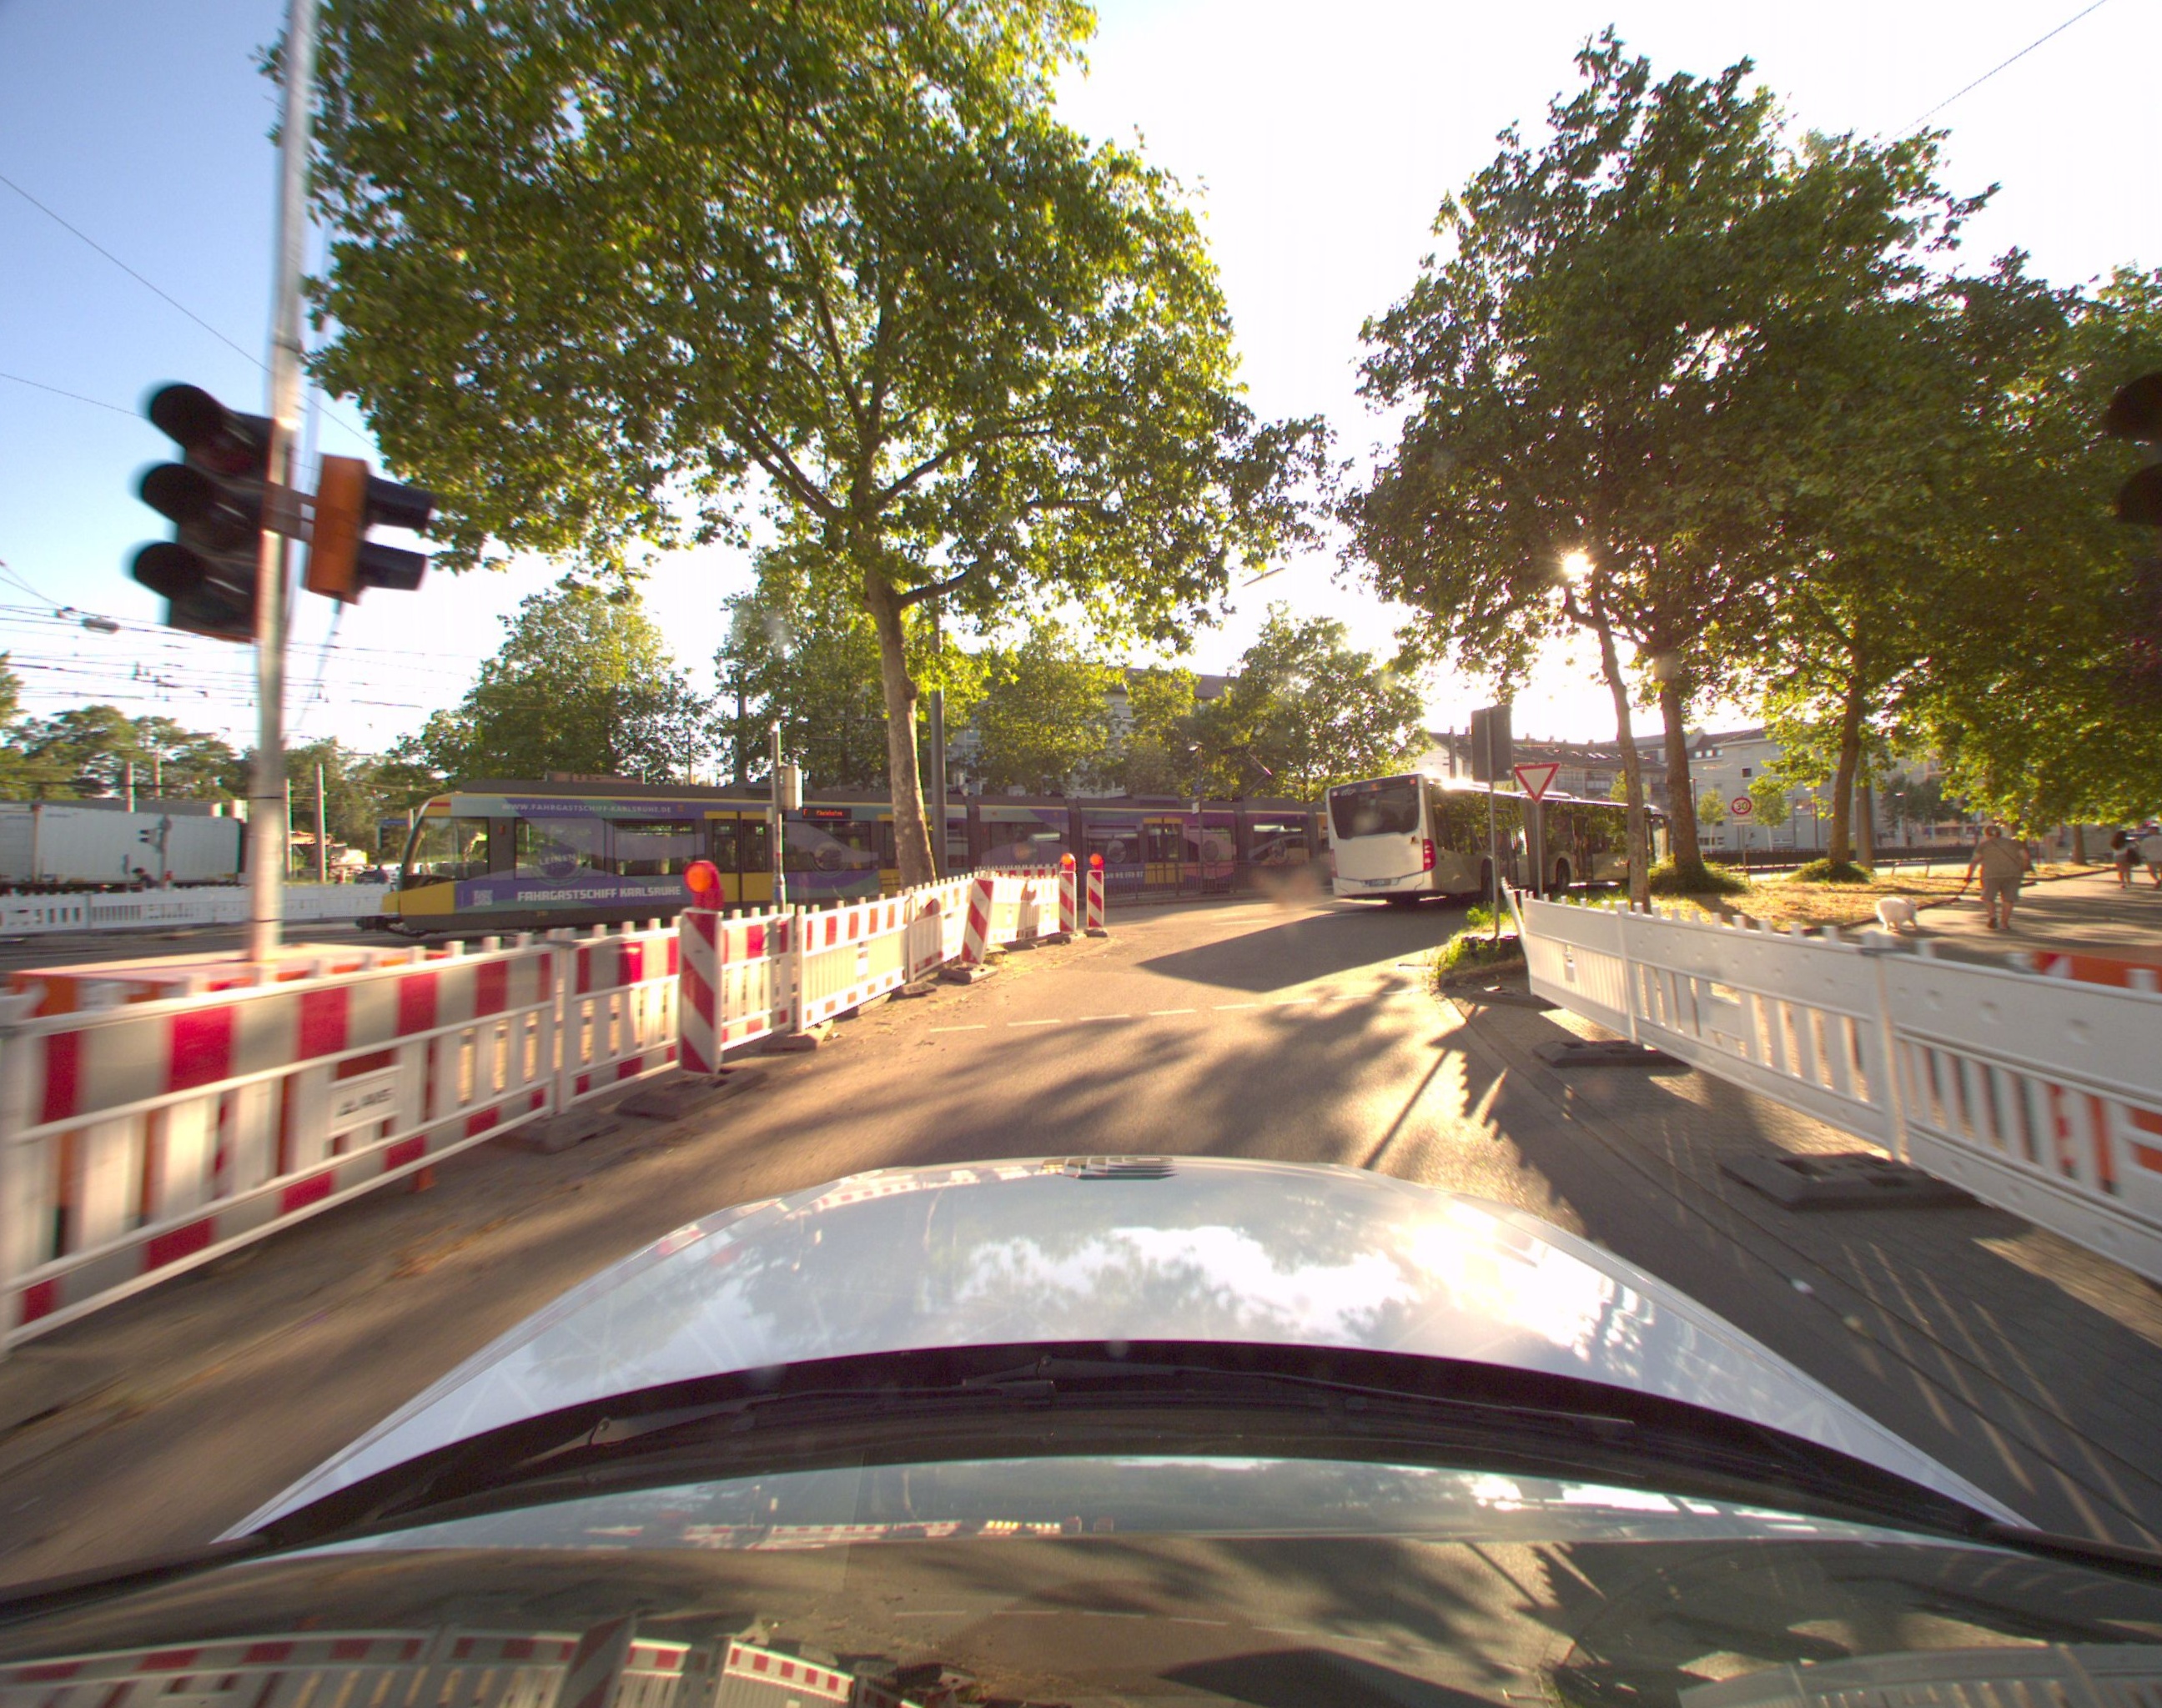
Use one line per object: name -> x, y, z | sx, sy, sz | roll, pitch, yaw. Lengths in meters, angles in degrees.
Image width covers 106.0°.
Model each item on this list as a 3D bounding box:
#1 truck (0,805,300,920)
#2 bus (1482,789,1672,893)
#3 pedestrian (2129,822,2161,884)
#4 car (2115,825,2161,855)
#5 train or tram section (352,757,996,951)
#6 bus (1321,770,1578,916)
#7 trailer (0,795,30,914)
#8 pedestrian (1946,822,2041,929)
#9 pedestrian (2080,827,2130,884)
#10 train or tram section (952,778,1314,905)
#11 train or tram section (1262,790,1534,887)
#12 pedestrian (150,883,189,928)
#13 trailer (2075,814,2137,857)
truck -> -36.660, 0.331, 31.979 | 2.888, 3.790, 10.409 | -1, 0, -7
bus -> 17.439, -0.450, 28.292 | 9.024, 3.107, 2.686 | -1, 0, -39
pedestrian -> 29.312, -0.027, 22.221 | 0.819, 1.667, 0.784 | -1, 0, -34
car -> 74.637, -0.976, 57.153 | 4.556, 1.956, 1.835 | -1, -1, -30
train or tram section -> -8.676, -0.072, 19.978 | 13.455, 3.533, 2.827 | -1, -1, -36
bus -> 10.499, -0.322, 22.235 | 10.765, 3.138, 2.708 | -1, 1, -45
trailer -> -36.363, 0.052, 22.193 | 2.871, 3.797, 9.265 | 0, 0, 7
pedestrian -> 13.195, 0.292, 11.787 | 0.819, 1.474, 0.784 | -1, 0, -34
pedestrian -> 28.872, 0.047, 22.954 | 0.819, 1.572, 0.784 | -1, 0, -34
train or tram section -> 2.227, -0.434, 27.285 | 12.827, 3.549, 2.710 | -1, -1, -31
train or tram section -> 13.526, -0.644, 33.835 | 13.372, 3.519, 2.624 | -1, -1, -30
pedestrian -> -31.297, 1.767, 27.956 | 0.573, 1.516, 0.591 | 2, -2, -10
trailer -> 63.273, -1.113, 50.252 | 3.328, 2.558, 1.821 | -1, -1, -30
